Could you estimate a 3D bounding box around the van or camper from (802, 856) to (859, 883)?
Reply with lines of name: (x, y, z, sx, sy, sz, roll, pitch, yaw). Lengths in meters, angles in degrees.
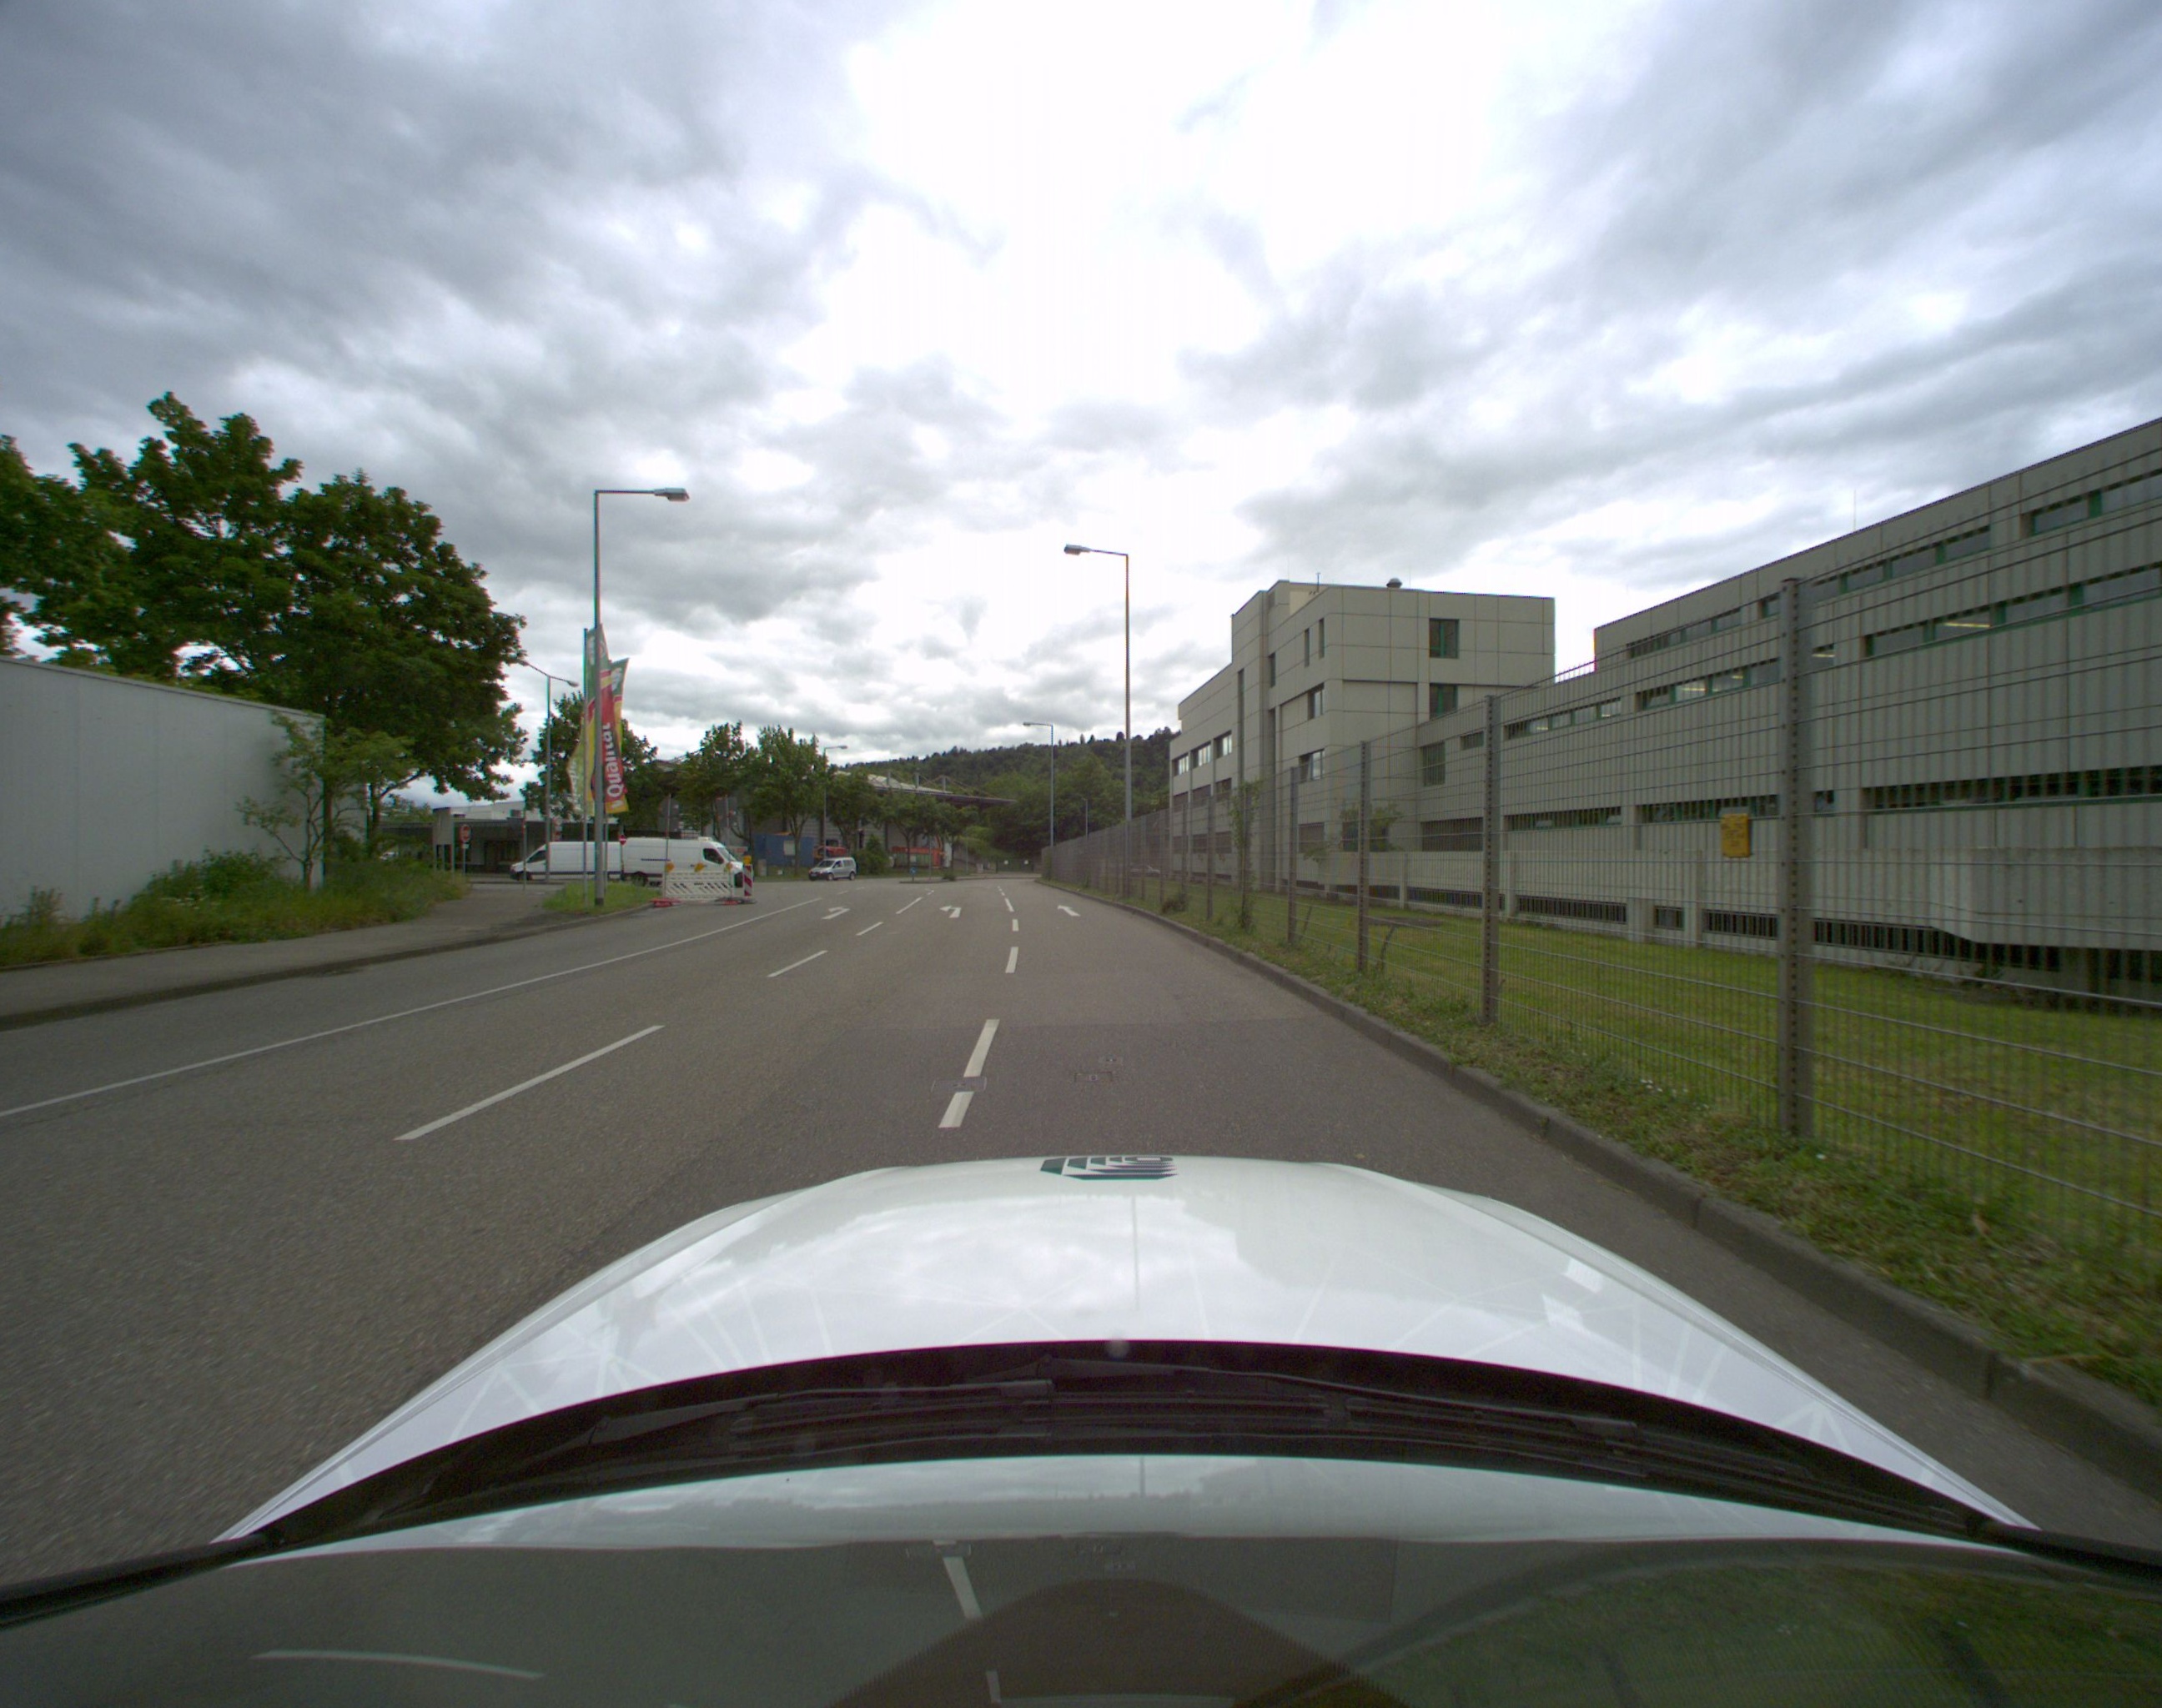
van or camper: (-19.601, 1.177, 63.867, 1.935, 1.963, 4.299, 1, 0, 23)

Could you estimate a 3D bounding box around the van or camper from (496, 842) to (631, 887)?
van or camper: (-31.827, 0.645, 50.322, 6.561, 2.557, 2.321, 1, 0, -13)

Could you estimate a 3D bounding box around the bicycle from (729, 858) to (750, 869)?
bicycle: (-30.834, 0.813, 73.491, 0.655, 0.974, 1.771, -1, -1, 27)

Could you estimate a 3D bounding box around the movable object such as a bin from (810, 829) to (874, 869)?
movable object such as a bin: (-25.432, -0.476, 86.921, 2.699, 4.091, 6.591, -1, -1, 27)

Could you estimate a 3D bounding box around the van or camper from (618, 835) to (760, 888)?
van or camper: (-19.996, 0.391, 41.817, 6.082, 2.557, 2.267, 1, 0, -7)
